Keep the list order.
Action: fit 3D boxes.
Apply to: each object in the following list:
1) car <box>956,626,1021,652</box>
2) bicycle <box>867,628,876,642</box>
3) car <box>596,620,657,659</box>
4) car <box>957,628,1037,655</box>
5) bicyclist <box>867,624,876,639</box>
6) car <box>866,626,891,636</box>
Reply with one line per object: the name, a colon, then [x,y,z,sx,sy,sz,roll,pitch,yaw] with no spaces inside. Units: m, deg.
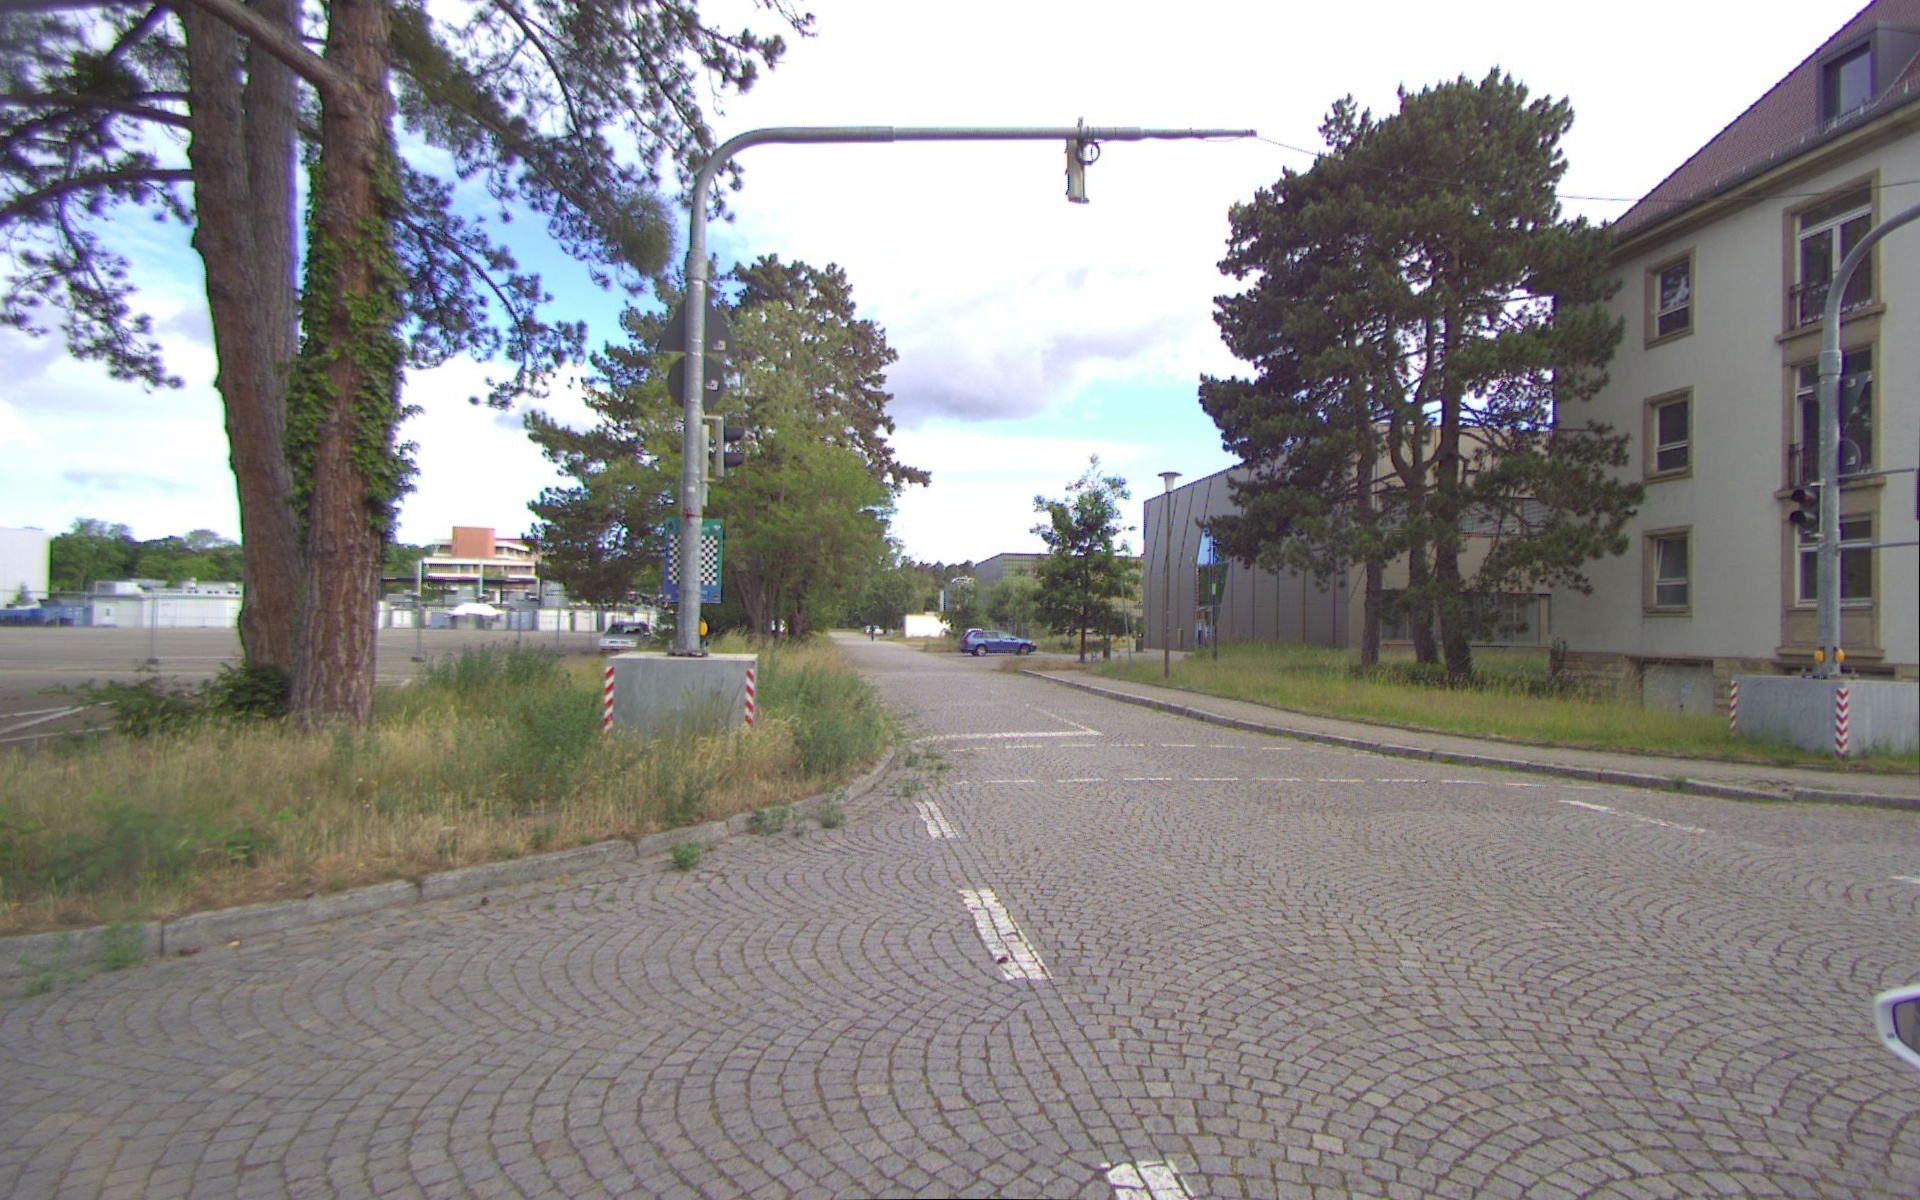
car: [1.892,2.572,66.605,4.047,1.593,1.762,0,-1,-11]
bicycle: [-9.476,3.727,107.546,0.811,1.395,2.039,2,0,-9]
car: [-13.855,1.594,41.924,1.704,1.451,4.155,1,0,-9]
car: [2.176,2.445,59.126,4.415,1.482,1.931,0,-1,-11]
bicyclist: [-9.462,3.369,107.535,0.884,1.562,0.866,2,0,-9]
car: [-14.472,5.451,177.601,4.255,1.570,1.998,1,-1,-7]
